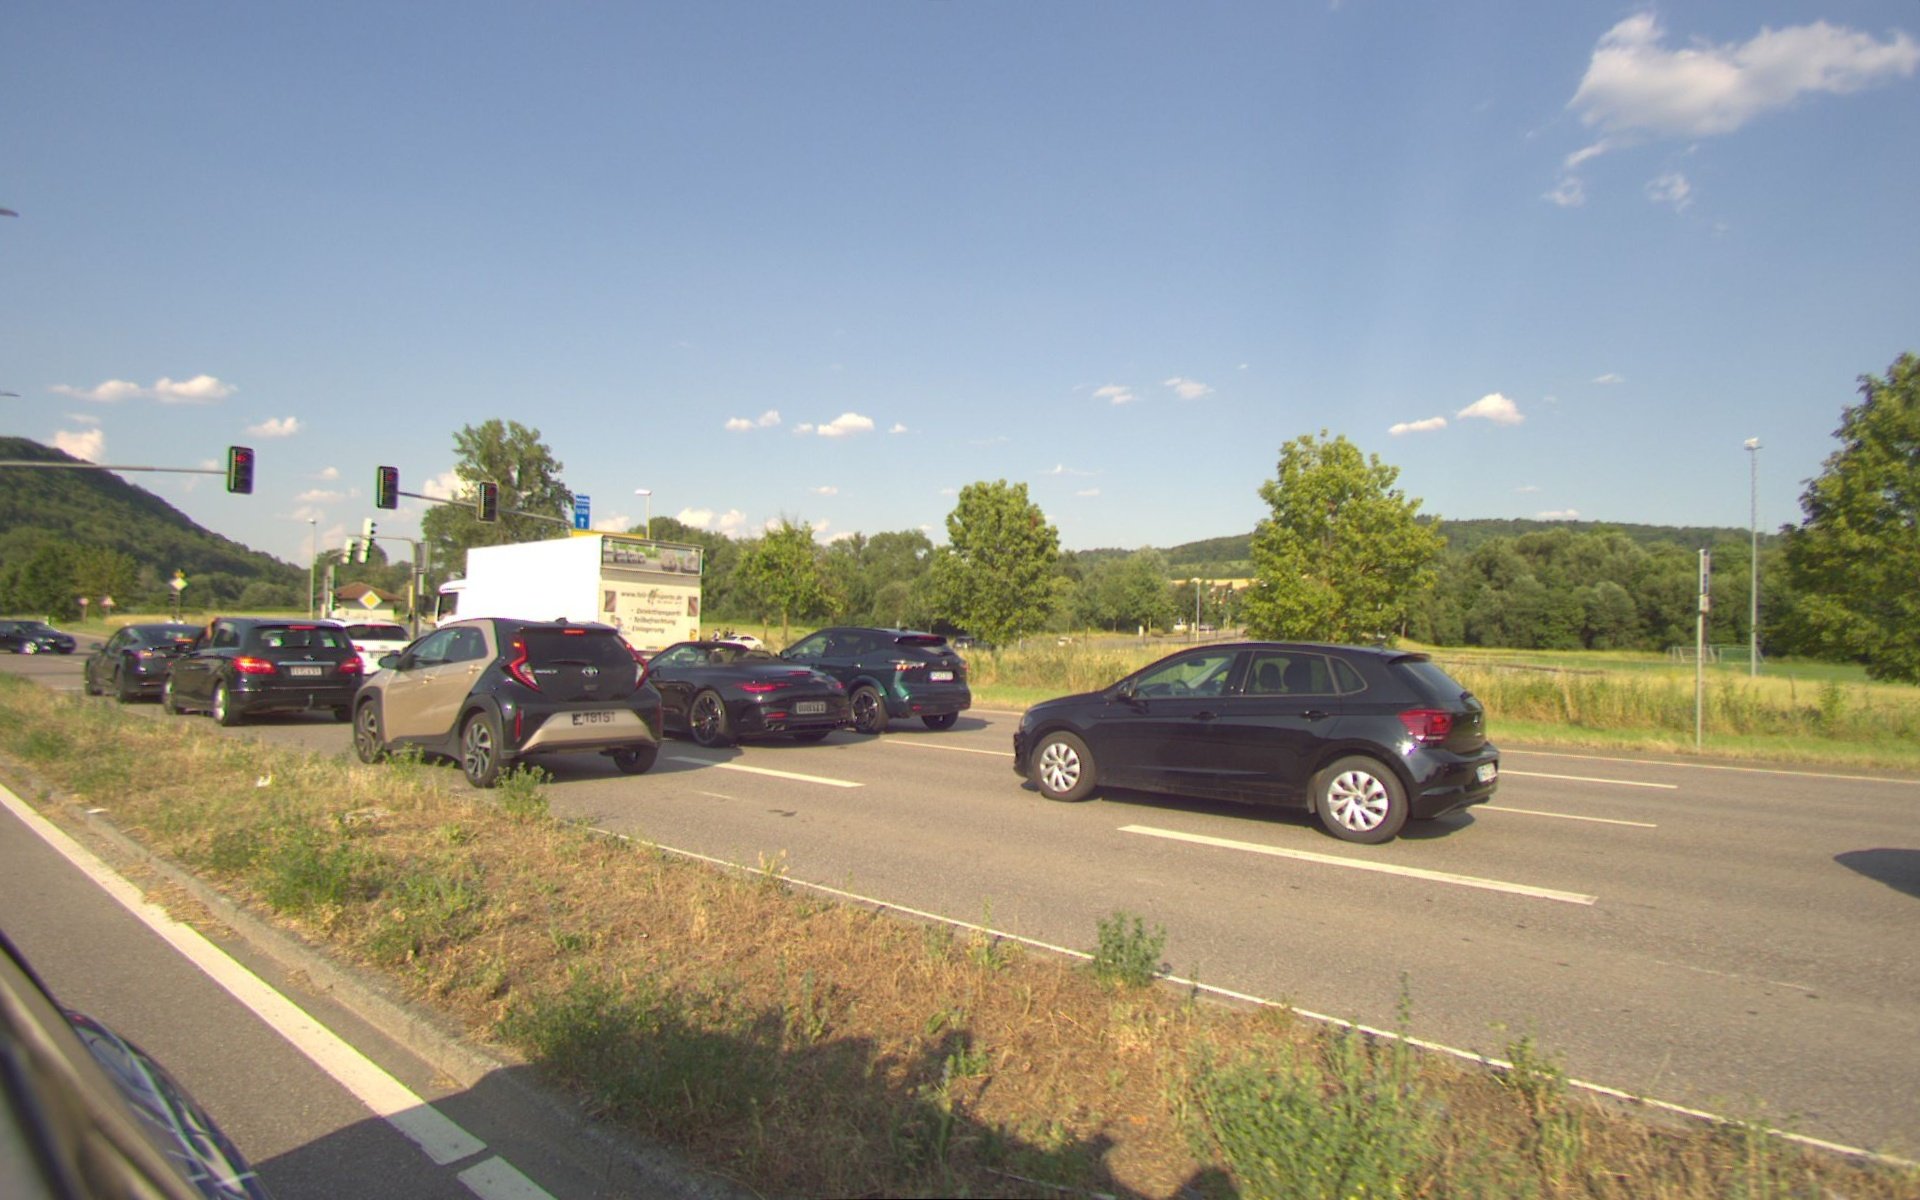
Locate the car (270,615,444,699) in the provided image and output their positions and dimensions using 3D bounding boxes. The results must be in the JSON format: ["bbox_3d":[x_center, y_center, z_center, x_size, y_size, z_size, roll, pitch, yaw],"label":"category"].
[{"bbox_3d":[-13.971,1.238,23.331,4.804,1.691,1.973,0,-2,41],"label":"car"}]

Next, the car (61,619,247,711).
[{"bbox_3d":[-15.448,1.151,19.294,4.925,1.477,1.772,0,-1,40],"label":"car"}]

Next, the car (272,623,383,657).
[{"bbox_3d":[-29.553,1.827,47.339,4.127,1.488,1.764,0,-1,-44],"label":"car"}]

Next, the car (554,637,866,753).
[{"bbox_3d":[-3.589,1.195,13.962,4.815,1.293,1.684,-1,-3,41],"label":"car"}]

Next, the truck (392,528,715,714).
[{"bbox_3d":[-10.349,0.483,24.794,10.497,3.718,2.901,0,-3,42],"label":"truck"}]

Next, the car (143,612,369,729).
[{"bbox_3d":[-10.913,1.044,15.566,4.568,1.550,1.762,-3,-4,41],"label":"car"}]

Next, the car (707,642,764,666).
[{"bbox_3d":[-17.357,4.145,78.332,1.591,1.630,4.202,0,1,41],"label":"car"}]

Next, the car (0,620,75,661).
[{"bbox_3d":[-39.571,1.701,42.146,3.934,1.586,1.622,-1,0,-35],"label":"car"}]

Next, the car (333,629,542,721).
[{"bbox_3d":[-9.942,1.327,19.071,5.078,1.416,1.684,0,-2,41],"label":"car"}]

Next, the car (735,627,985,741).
[{"bbox_3d":[-1.695,1.272,16.438,3.998,1.541,1.744,0,-3,41],"label":"car"}]

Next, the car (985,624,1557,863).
[{"bbox_3d":[2.397,0.985,8.436,4.242,1.485,1.685,-1,-4,40],"label":"car"}]

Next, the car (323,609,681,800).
[{"bbox_3d":[-4.760,0.905,10.272,3.998,1.531,1.762,0,-2,41],"label":"car"}]

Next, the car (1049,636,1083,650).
[{"bbox_3d":[10.756,4.310,102.268,1.765,1.378,3.703,0,-2,36],"label":"car"}]

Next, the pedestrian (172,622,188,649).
[{"bbox_3d":[-46.945,2.127,60.917,0.645,1.618,0.892,0,0,-28],"label":"pedestrian"}]

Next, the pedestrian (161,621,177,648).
[{"bbox_3d":[-47.991,2.081,61.396,0.645,1.618,0.839,0,0,-28],"label":"pedestrian"}]
